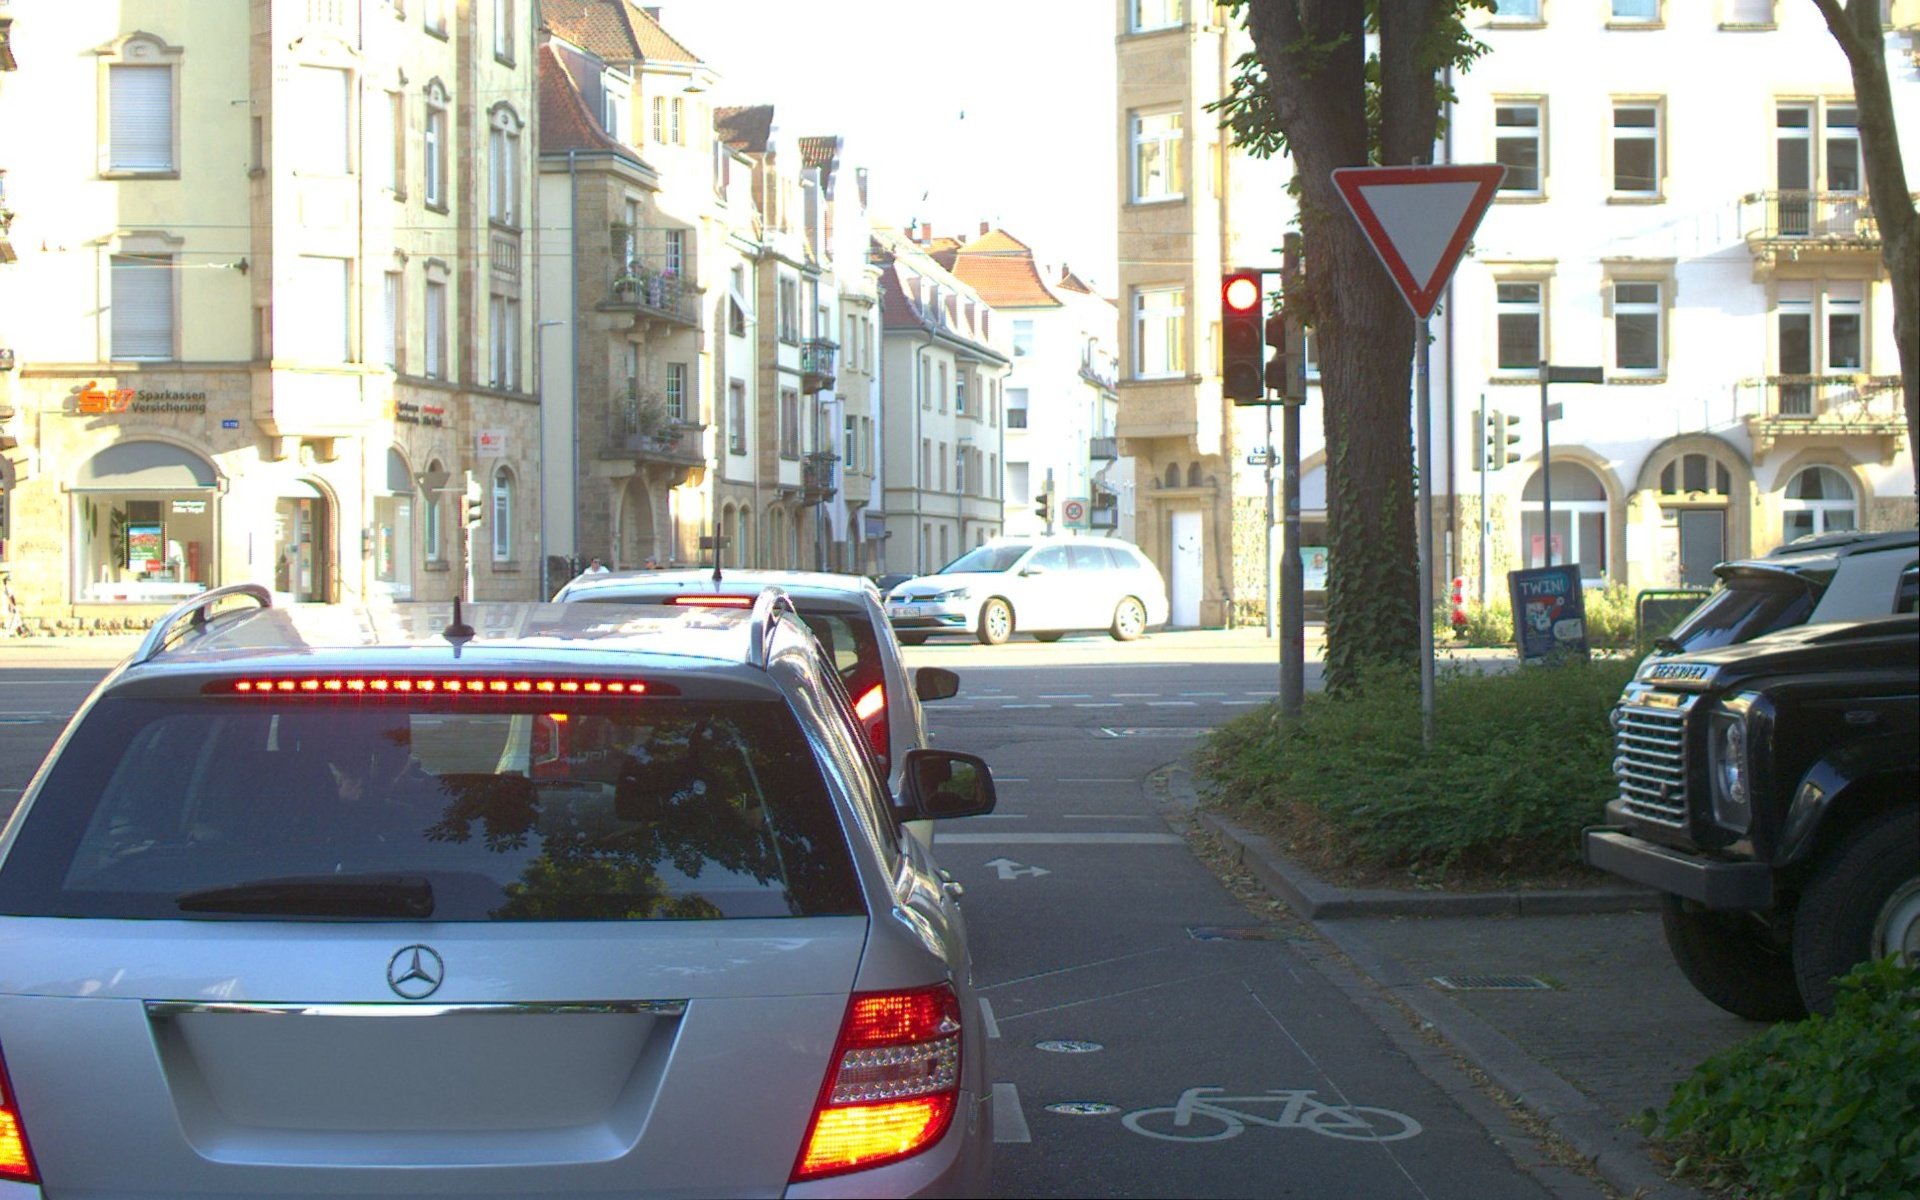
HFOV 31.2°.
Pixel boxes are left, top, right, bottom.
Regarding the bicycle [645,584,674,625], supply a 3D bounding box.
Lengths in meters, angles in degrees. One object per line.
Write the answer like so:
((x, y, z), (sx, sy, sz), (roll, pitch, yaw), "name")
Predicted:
((-6.414, 0.095, 73.430), (0.568, 0.832, 1.566), (0, 1, -4), "bicycle")

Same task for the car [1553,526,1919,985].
((4.207, 0.499, 13.053), (3.480, 1.580, 1.711), (-2, 1, -6), "car")

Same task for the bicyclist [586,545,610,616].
((-7.722, -0.416, 73.392), (0.466, 1.509, 0.655), (0, 1, -4), "bicyclist")

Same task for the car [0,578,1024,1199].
((-0.863, 0.701, 6.466), (1.690, 1.424, 3.493), (1, 1, -3), "car")

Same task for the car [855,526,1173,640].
((0.775, -0.272, 47.398), (4.287, 1.457, 1.786), (-2, 2, -41), "car")

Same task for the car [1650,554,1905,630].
((11.843, -0.128, 49.920), (3.364, 1.065, 1.380), (0, 1, -1), "car")

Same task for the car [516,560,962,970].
((-0.831, 0.553, 13.681), (1.533, 1.386, 3.600), (0, 1, -2), "car")

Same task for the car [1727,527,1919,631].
((13.525, -0.331, 51.760), (3.580, 1.496, 1.621), (0, 2, 0), "car")

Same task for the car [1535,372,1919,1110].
((4.155, 0.289, 10.177), (4.490, 1.949, 1.793), (-2, 1, -3), "car")

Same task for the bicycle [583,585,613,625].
((-7.737, 0.105, 73.502), (0.568, 0.832, 1.566), (0, 1, -4), "bicycle")

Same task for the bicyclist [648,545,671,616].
((-6.414, -0.419, 73.503), (0.466, 1.516, 0.694), (0, 1, -4), "bicyclist")

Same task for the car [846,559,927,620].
((-2.168, -0.294, 102.430), (1.651, 1.777, 3.861), (0, 0, 11), "car")
